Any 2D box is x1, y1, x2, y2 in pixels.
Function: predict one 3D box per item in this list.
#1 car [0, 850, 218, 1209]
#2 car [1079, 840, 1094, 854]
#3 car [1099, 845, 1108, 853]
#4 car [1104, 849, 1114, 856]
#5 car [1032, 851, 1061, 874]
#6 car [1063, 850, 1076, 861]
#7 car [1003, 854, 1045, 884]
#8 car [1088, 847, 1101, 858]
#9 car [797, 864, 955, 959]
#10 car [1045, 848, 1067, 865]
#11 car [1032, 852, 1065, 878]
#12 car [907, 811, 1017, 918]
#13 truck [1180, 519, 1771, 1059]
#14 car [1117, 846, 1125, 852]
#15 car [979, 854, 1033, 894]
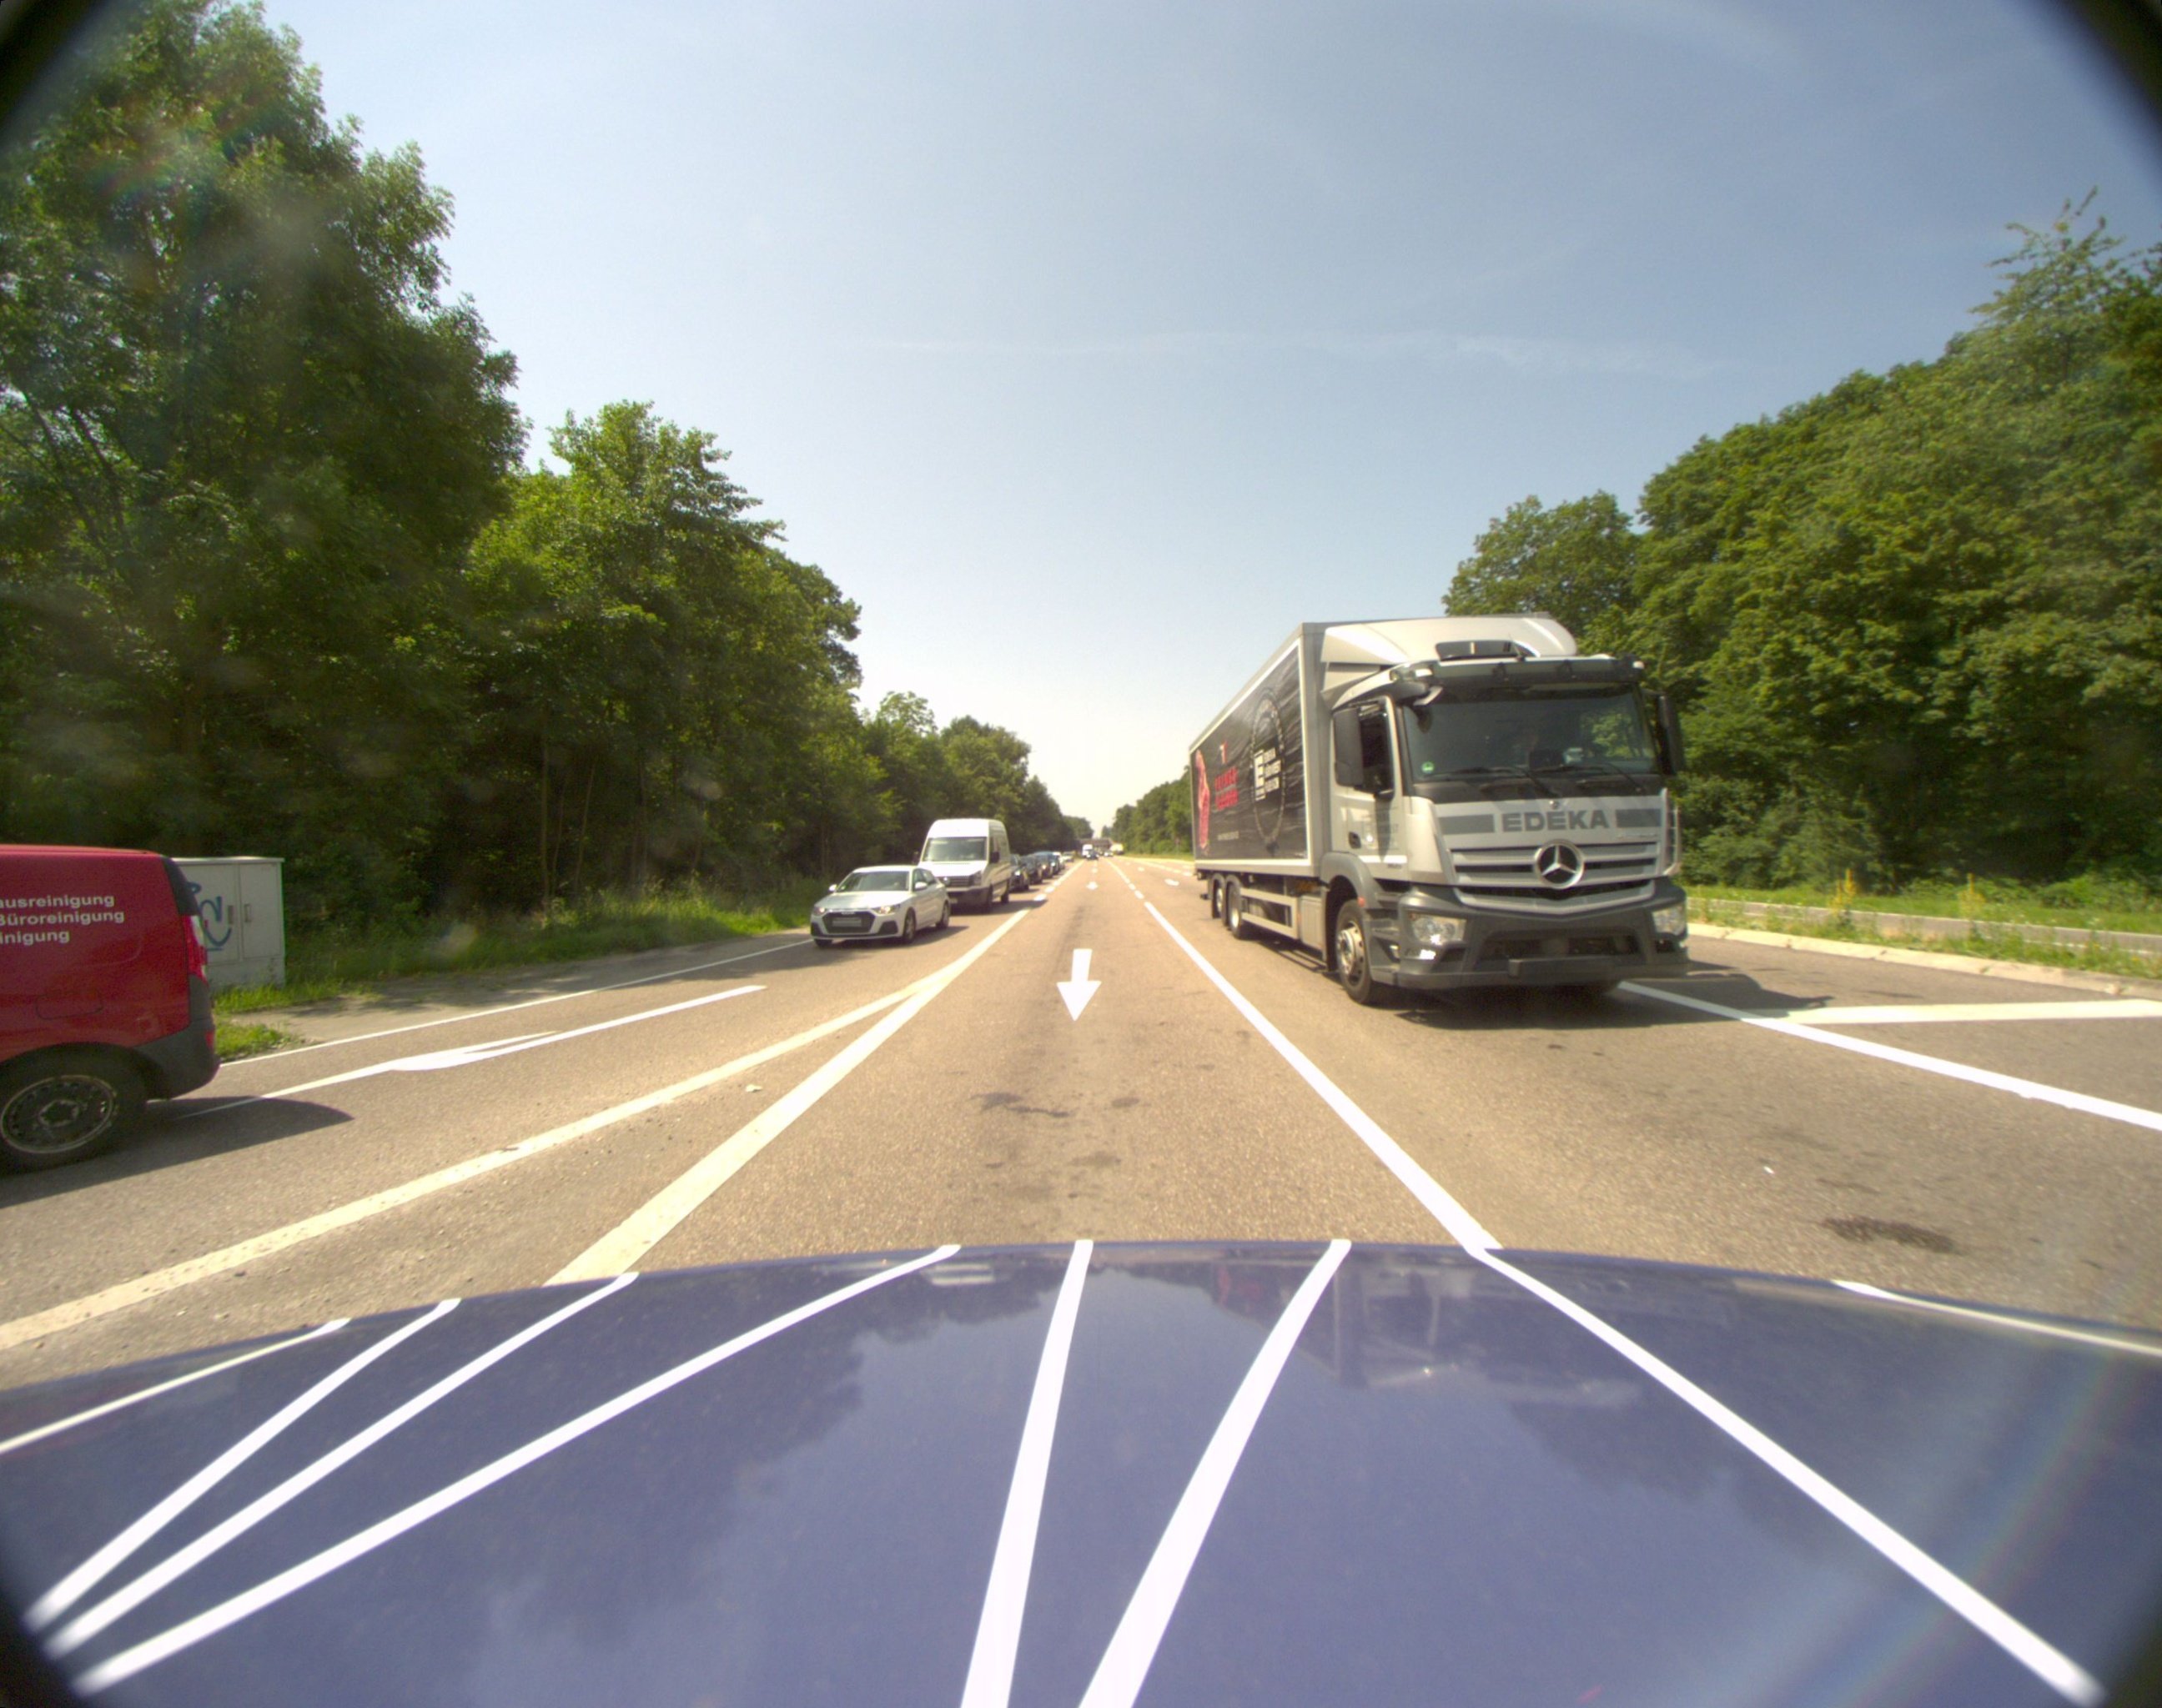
[{"bbox_3d":[-6.981,0.954,2.894,1.793,1.812,4.503,-2,0,26],"label":"car"},{"bbox_3d":[1.085,-1.416,152.759,2.673,2.685,6.330,0,1,3],"label":"car"},{"bbox_3d":[5.551,-1.285,185.109,1.998,1.868,4.000,0,1,3],"label":"car"},{"bbox_3d":[5.878,-0.280,159.635,1.998,1.543,4.000,0,1,1],"label":"car"},{"bbox_3d":[-2.311,0.535,52.025,1.796,1.431,4.228,-1,1,0],"label":"car"},{"bbox_3d":[-1.581,0.228,108.034,1.796,1.431,4.228,-1,1,0],"label":"car"},{"bbox_3d":[-2.817,0.728,38.453,1.796,1.348,4.228,-1,1,0],"label":"car"},{"bbox_3d":[2.066,-0.197,117.666,1.992,1.575,4.364,-1,1,0],"label":"car"},{"bbox_3d":[-3.804,1.000,14.847,1.693,1.427,4.001,-3,0,4],"label":"car"},{"bbox_3d":[-2.209,0.161,67.137,1.796,1.431,4.228,0,1,0],"label":"car"},{"bbox_3d":[-1.891,0.651,45.929,1.796,1.431,4.228,-1,1,0],"label":"car"},{"bbox_3d":[-3.261,0.259,22.243,1.974,2.630,6.060,-2,0,2],"label":"car"},{"bbox_3d":[3.655,-0.523,11.243,2.753,3.862,11.318,-2,1,0],"label":"truck"},{"bbox_3d":[11.266,-1.391,213.568,1.998,1.543,3.999,-2,1,1],"label":"car"},{"bbox_3d":[-3.042,0.781,31.519,1.796,1.452,4.228,-2,1,0],"label":"car"}]
